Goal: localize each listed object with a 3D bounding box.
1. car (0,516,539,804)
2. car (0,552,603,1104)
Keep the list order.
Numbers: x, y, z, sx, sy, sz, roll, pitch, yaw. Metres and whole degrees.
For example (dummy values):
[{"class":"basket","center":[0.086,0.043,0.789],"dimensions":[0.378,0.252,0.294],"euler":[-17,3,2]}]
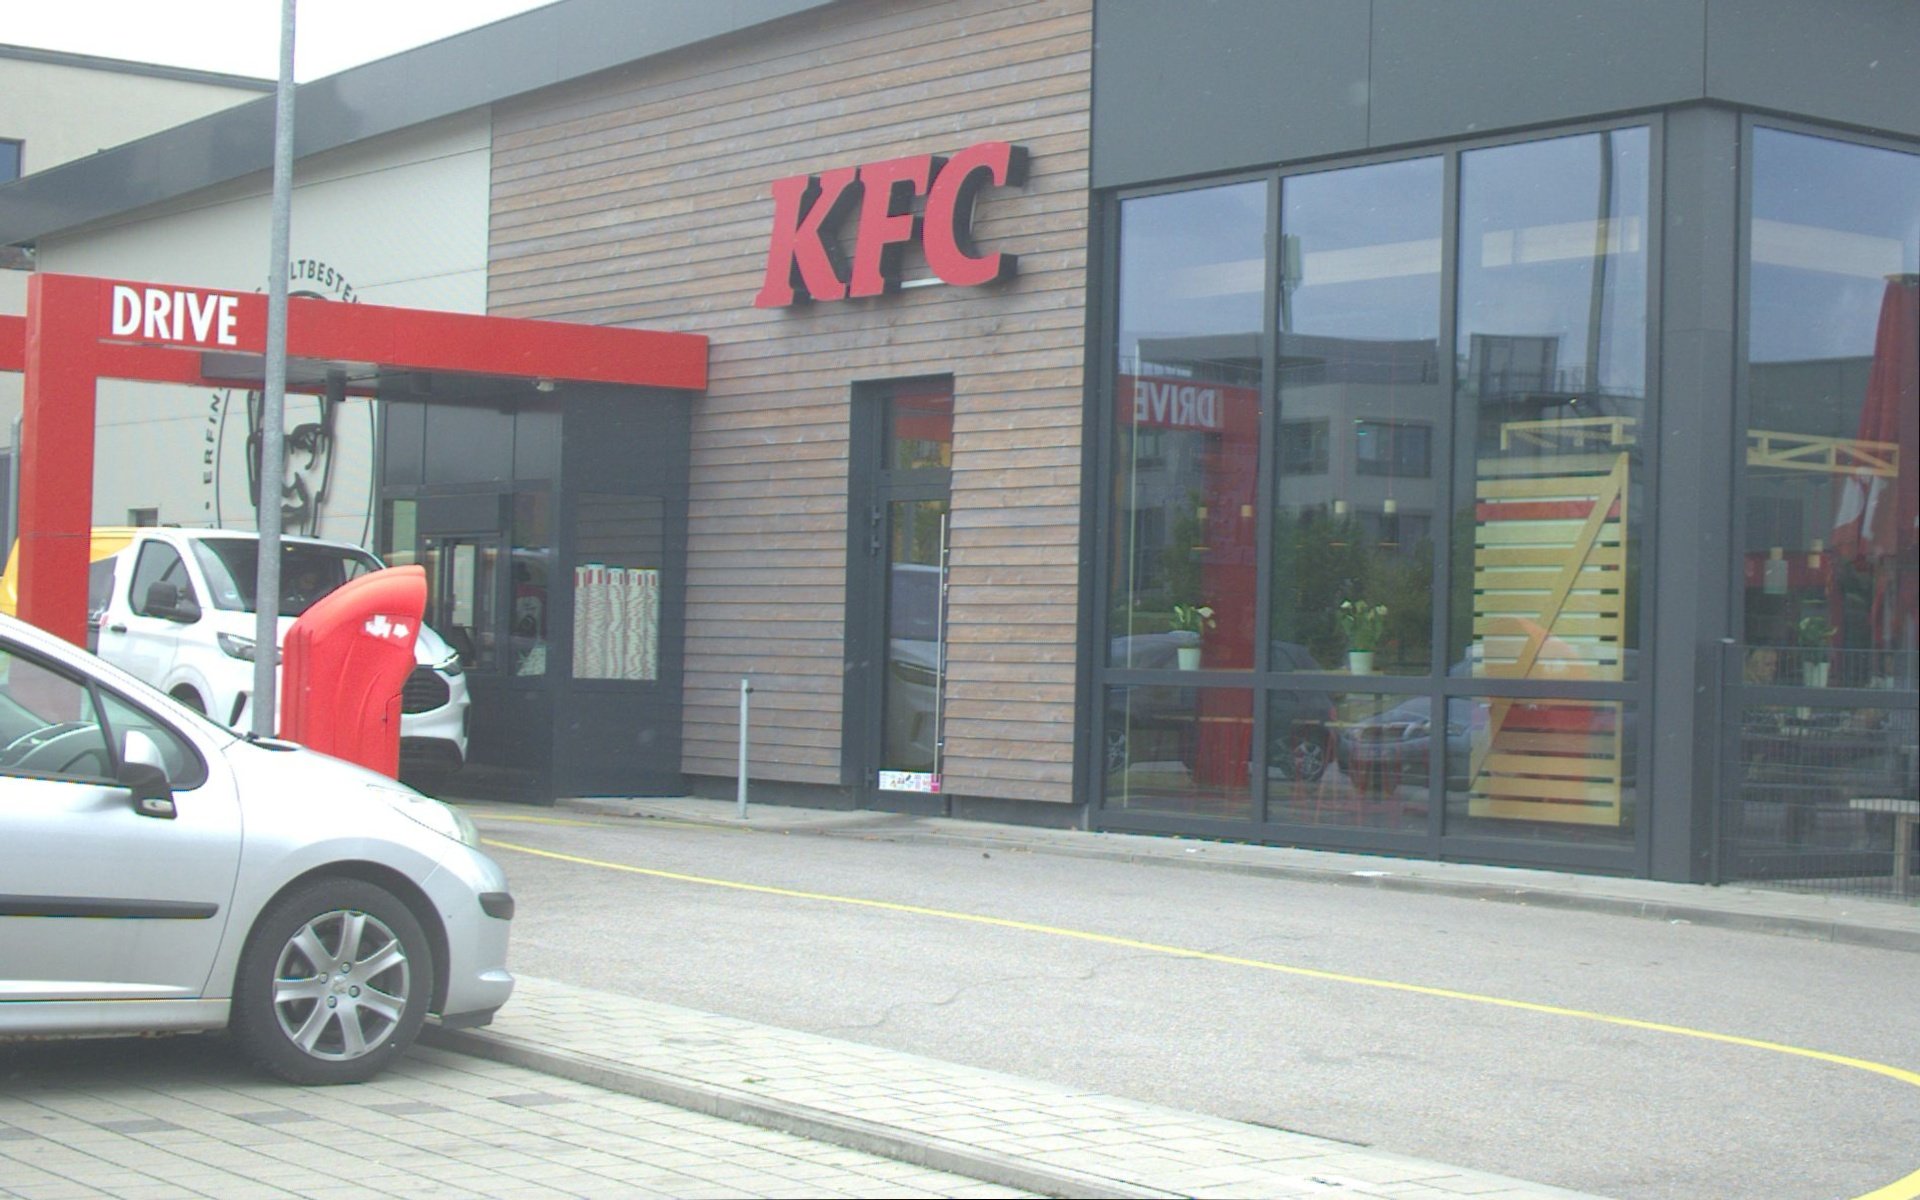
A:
[{"class":"car","center":[-5.402,0.425,25.712],"dimensions":[2.274,1.925,5.122],"euler":[2,-1,-35]},{"class":"car","center":[-3.249,0.608,9.869],"dimensions":[4.156,1.500,1.628],"euler":[2,-1,-38]}]
